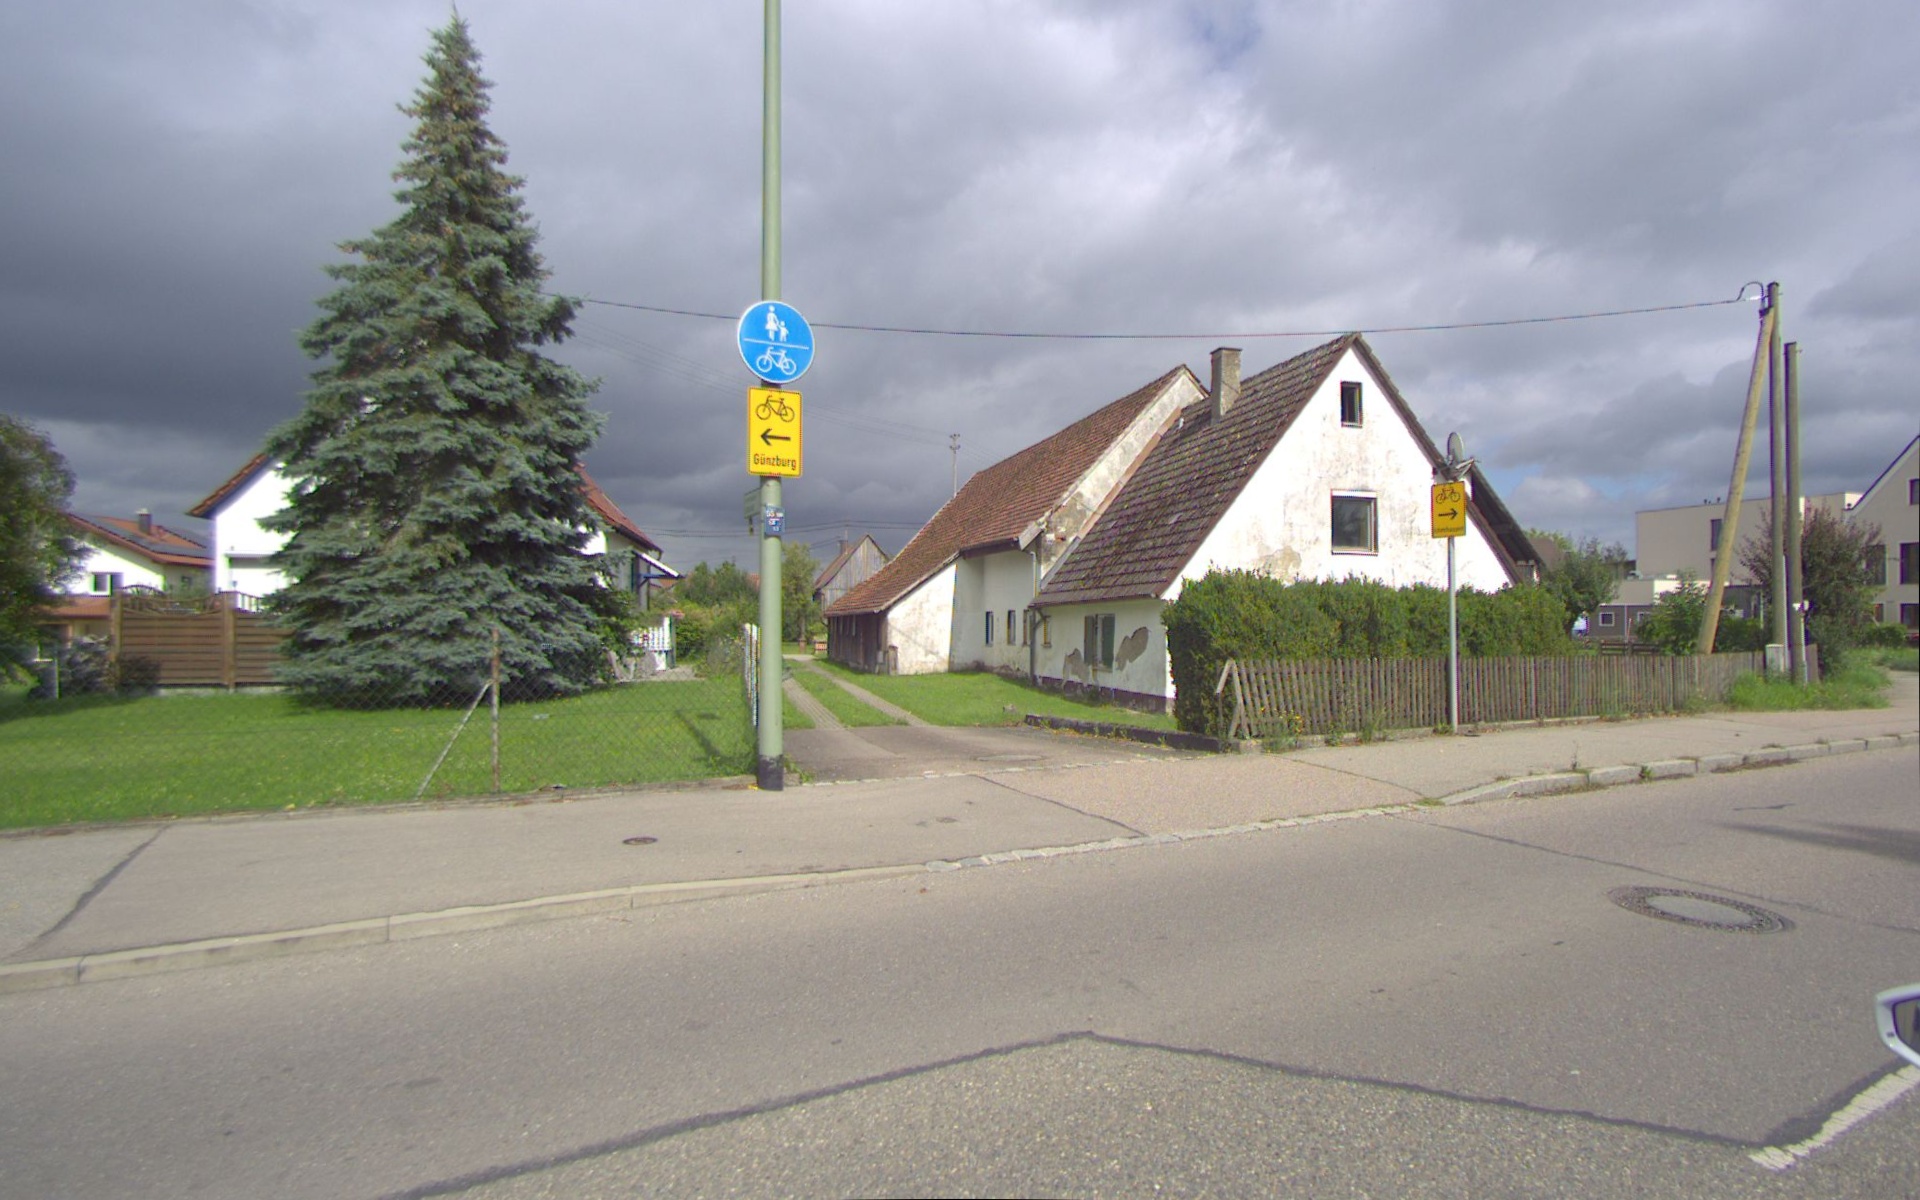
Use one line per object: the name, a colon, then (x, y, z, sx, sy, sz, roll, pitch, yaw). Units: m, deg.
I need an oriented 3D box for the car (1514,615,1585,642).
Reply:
car: (44.476, 2.137, 75.800, 4.822, 2.040, 1.992, 0, -1, -18)
